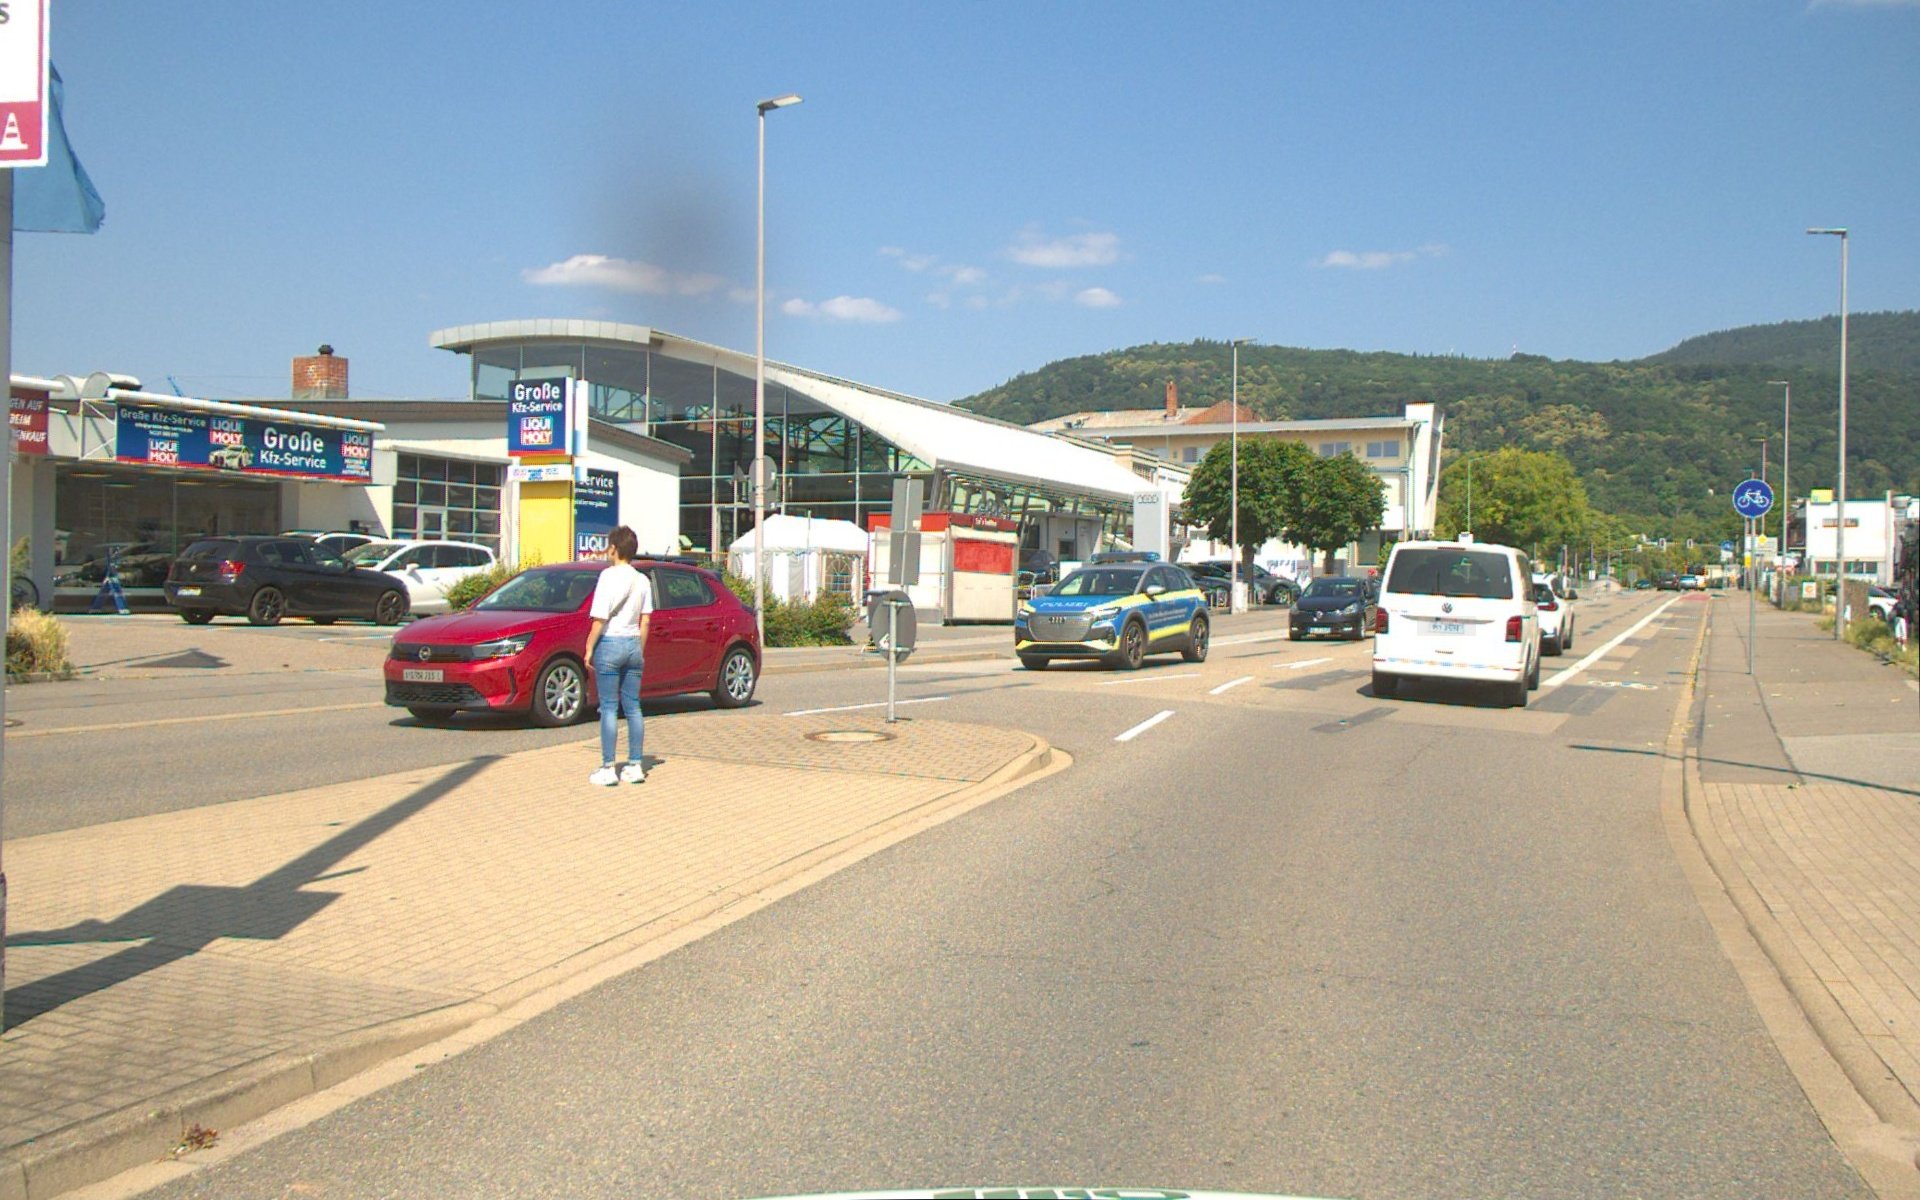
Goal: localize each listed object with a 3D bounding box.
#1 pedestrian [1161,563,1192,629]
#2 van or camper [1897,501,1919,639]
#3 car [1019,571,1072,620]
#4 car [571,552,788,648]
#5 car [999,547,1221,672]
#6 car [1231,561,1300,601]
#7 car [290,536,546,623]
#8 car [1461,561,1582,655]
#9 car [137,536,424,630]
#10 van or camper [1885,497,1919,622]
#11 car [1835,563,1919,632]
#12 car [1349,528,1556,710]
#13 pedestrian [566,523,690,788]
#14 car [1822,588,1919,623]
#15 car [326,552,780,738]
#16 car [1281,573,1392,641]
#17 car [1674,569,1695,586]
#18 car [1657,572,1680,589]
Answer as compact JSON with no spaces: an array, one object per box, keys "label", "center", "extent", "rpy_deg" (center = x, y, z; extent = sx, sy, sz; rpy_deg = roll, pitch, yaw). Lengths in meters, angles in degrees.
[{"label":"pedestrian","center":[5.980,-0.119,45.729],"extent":[0.743,1.819,0.928],"rpy_deg":[0,1,13]},{"label":"van or camper","center":[21.627,-0.551,31.364],"extent":[6.477,2.606,3.748],"rpy_deg":[1,1,27]},{"label":"car","center":[2.969,-0.191,56.867],"extent":[1.708,1.612,3.664],"rpy_deg":[0,1,5]},{"label":"car","center":[-5.095,-0.048,30.580],"extent":[1.955,1.646,3.995],"rpy_deg":[0,1,28]},{"label":"car","center":[2.466,0.089,26.050],"extent":[1.872,1.790,4.444],"rpy_deg":[0,1,29]},{"label":"car","center":[12.552,-0.794,68.073],"extent":[1.713,1.612,3.655],"rpy_deg":[0,1,-8]},{"label":"car","center":[-10.909,-0.416,33.675],"extent":[1.847,1.616,4.915],"rpy_deg":[-1,0,32]},{"label":"car","center":[11.737,0.141,34.419],"extent":[1.954,1.737,3.998],"rpy_deg":[4,2,24]},{"label":"car","center":[-11.271,-0.300,27.769],"extent":[1.985,1.451,4.316],"rpy_deg":[0,1,24]},{"label":"van or camper","center":[23.260,-0.837,34.739],"extent":[6.477,2.606,3.396],"rpy_deg":[1,1,27]},{"label":"car","center":[25.480,-0.033,43.564],"extent":[4.216,1.782,1.976],"rpy_deg":[1,-1,27]},{"label":"car","center":[6.731,0.143,22.196],"extent":[2.118,2.048,5.018],"rpy_deg":[3,3,22]},{"label":"pedestrian","center":[-2.206,0.352,10.946],"extent":[0.747,1.685,0.670],"rpy_deg":[0,1,-17]},{"label":"car","center":[36.905,0.207,66.654],"extent":[1.632,1.333,3.677],"rpy_deg":[0,1,-24]},{"label":"car","center":[-3.615,0.313,15.463],"extent":[1.806,1.489,4.137],"rpy_deg":[0,1,29]},{"label":"car","center":[8.907,0.125,38.908],"extent":[1.804,1.489,3.998],"rpy_deg":[0,1,24]},{"label":"car","center":[74.459,-2.344,169.985],"extent":[1.954,1.713,3.998],"rpy_deg":[0,1,24]},{"label":"car","center":[59.169,-1.638,138.039],"extent":[1.684,1.326,3.998],"rpy_deg":[0,1,24]}]
